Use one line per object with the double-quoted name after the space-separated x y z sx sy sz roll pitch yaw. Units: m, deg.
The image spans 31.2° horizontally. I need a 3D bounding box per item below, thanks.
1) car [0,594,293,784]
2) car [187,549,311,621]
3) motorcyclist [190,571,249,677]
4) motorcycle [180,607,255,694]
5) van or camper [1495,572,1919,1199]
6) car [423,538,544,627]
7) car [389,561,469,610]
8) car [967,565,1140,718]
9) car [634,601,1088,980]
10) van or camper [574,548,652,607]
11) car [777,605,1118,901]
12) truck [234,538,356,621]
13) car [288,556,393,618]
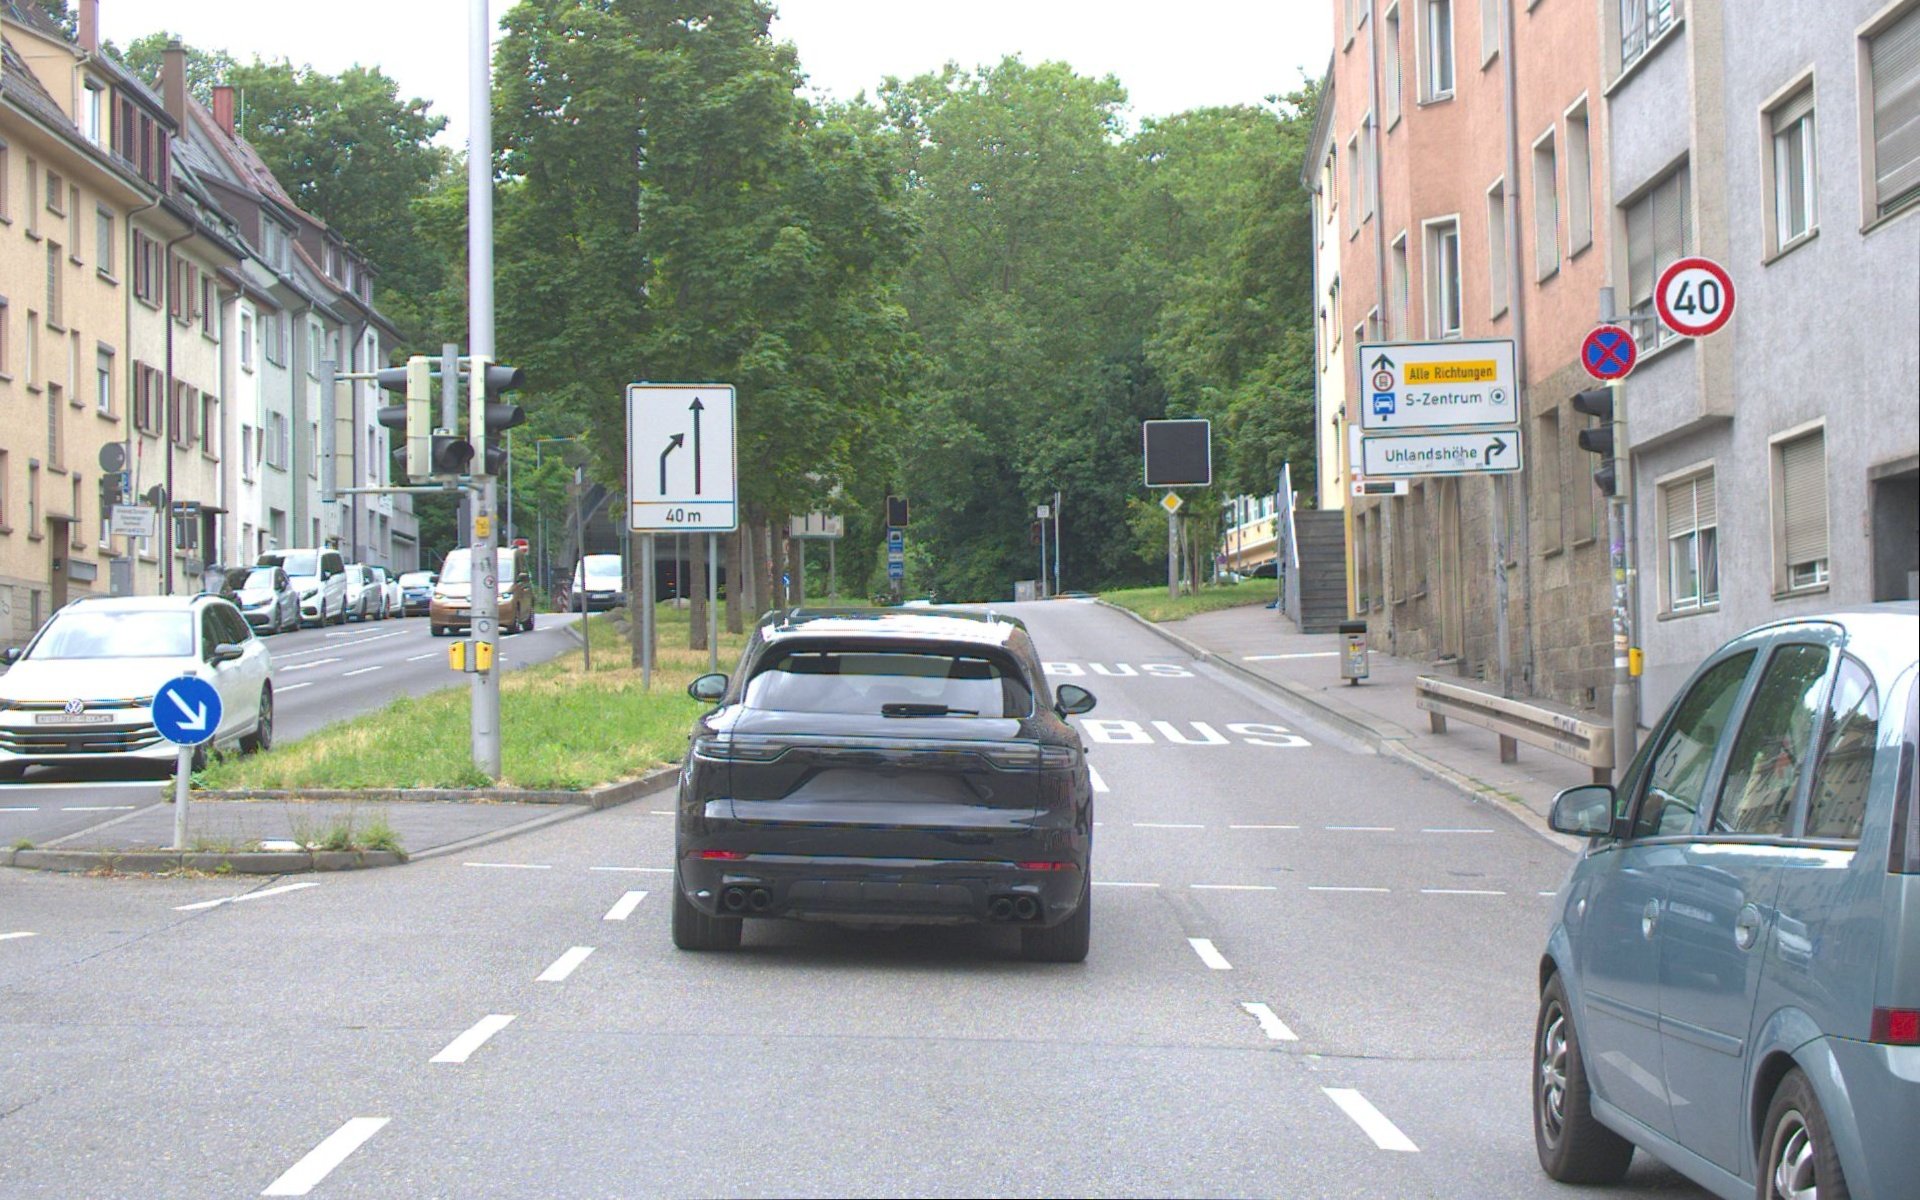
-7.023 0.699 29.526 1.745 1.462 4.586 -1 0 -1 "car"
-15.951 -0.331 77.307 1.993 1.547 4.158 -1 0 -1 "car"
-10.336 0.340 47.984 0.672 1.470 0.662 0 -1 1 "motorcyclist"
-10.332 0.700 47.915 0.545 1.181 2.205 0 0 1 "motorcycle"
2.452 0.797 8.140 1.735 1.573 3.646 1 -1 -1 "van or camper"
-10.009 -0.381 72.484 1.879 1.809 4.351 1 0 1 "car"
-15.956 -0.441 103.435 1.993 1.418 4.212 -1 0 -4 "car"
1.106 0.457 41.215 1.934 1.647 4.000 -1 1 1 "car"
-0.402 0.864 17.404 1.993 1.647 4.000 -1 0 1 "car"
-10.628 -0.692 105.561 1.908 1.755 4.655 1 0 0 "van or camper"
-0.032 0.887 21.878 1.934 1.647 4.000 -1 0 1 "car"
-16.101 -0.489 83.502 1.993 1.913 5.347 -1 0 -1 "truck"
-16.042 -0.336 89.218 1.993 1.547 4.382 -1 0 -1 "car"
